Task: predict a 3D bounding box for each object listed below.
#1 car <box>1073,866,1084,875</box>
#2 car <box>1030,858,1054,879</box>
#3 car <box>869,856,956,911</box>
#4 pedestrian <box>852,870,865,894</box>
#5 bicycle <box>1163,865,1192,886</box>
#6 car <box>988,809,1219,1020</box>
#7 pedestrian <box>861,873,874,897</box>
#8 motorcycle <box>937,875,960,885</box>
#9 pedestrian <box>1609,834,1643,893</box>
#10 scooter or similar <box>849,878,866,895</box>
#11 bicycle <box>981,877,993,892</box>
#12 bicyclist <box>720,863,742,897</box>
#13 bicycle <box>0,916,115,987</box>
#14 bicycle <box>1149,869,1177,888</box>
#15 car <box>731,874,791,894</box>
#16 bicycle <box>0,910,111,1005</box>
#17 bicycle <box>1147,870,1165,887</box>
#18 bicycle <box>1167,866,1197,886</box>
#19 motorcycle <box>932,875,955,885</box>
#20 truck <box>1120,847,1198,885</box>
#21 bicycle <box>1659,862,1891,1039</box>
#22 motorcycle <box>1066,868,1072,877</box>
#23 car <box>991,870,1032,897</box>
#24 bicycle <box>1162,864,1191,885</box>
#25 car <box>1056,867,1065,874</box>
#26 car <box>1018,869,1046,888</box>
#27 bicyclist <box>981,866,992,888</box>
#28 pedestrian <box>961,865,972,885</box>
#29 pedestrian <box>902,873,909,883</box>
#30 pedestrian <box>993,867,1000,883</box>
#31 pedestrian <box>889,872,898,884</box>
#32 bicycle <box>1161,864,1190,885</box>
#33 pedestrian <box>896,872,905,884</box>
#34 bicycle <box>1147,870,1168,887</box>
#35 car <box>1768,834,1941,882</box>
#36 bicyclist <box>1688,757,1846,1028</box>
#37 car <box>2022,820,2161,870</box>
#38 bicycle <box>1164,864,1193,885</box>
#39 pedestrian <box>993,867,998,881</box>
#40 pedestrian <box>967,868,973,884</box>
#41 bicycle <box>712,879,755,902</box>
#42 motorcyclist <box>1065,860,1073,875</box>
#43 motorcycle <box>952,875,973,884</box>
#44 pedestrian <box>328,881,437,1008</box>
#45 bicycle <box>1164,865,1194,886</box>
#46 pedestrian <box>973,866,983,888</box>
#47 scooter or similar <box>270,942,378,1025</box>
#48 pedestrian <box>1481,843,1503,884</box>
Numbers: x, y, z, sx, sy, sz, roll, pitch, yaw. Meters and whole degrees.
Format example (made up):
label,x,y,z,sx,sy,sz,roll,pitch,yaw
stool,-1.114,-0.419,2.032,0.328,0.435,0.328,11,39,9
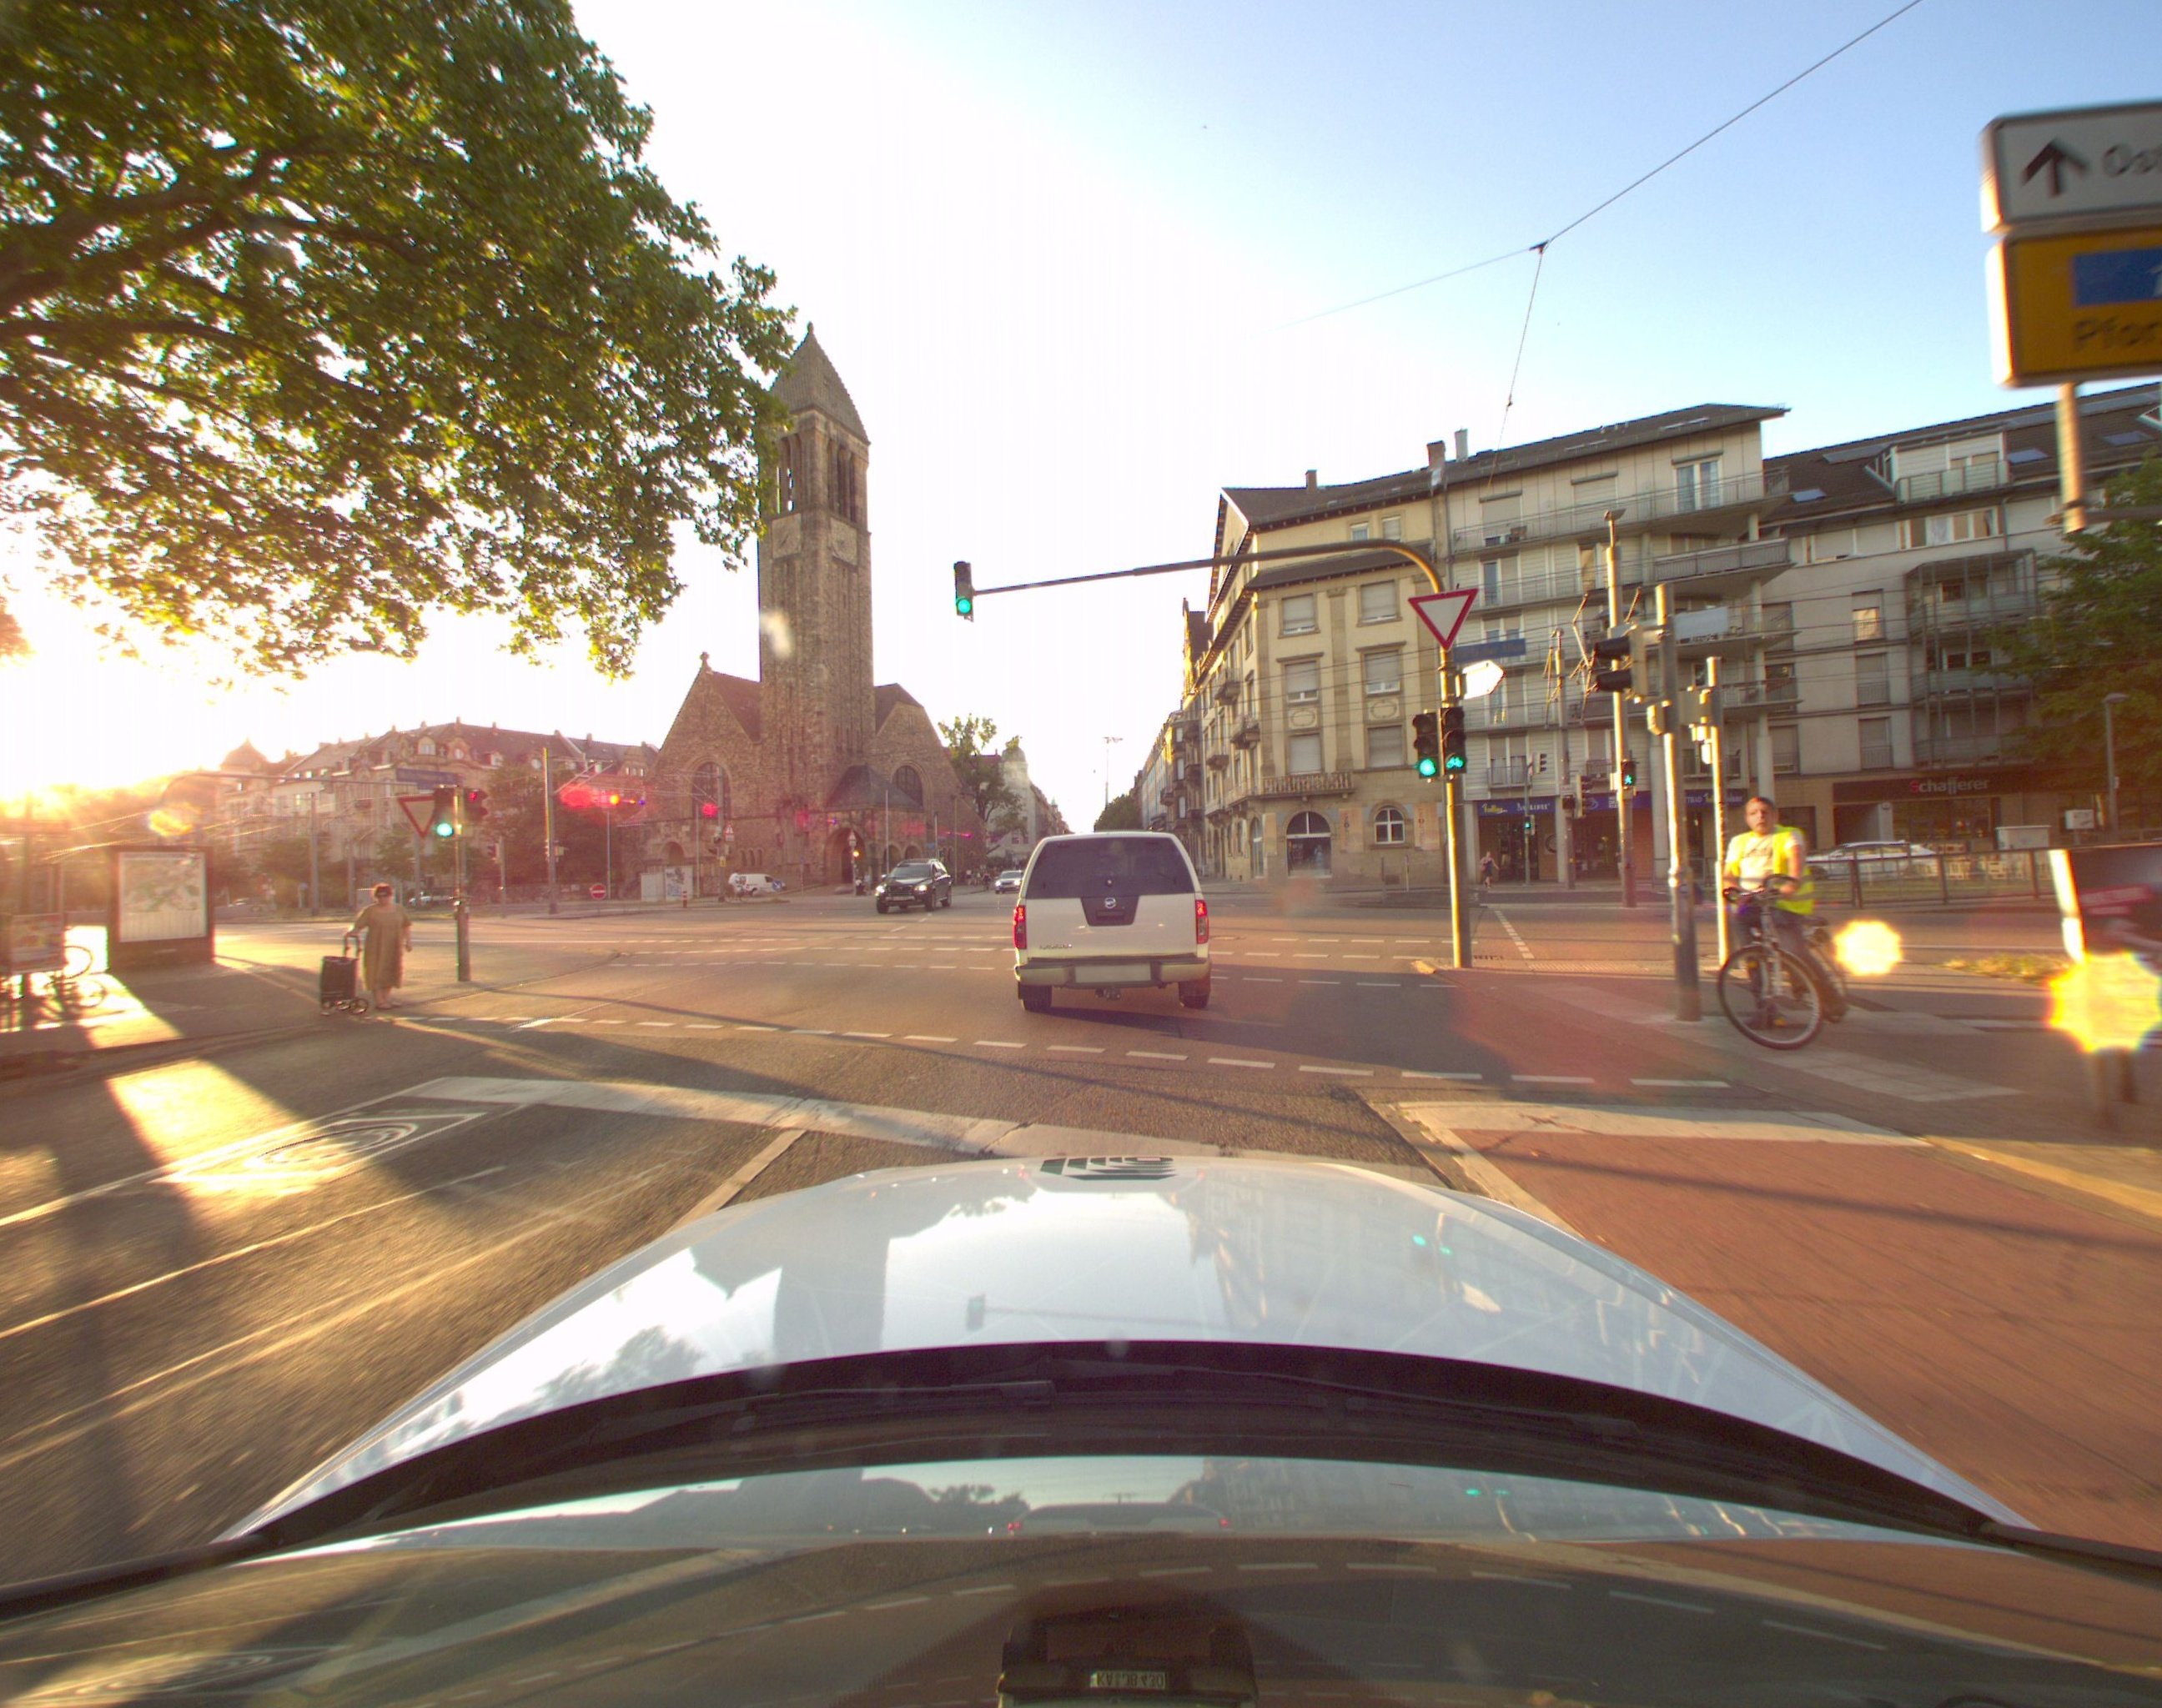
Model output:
label,x,y,z,sx,sy,sz,roll,pitch,yaw
car,-0.432,2.784,135.856,1.853,1.529,3.998,-1,-1,-1
car,-3.934,1.488,82.139,1.986,2.014,4.951,-2,-1,1
car,-5.826,0.966,28.845,1.986,1.784,4.798,0,0,1
pedestrian,-16.023,2.014,58.617,0.629,1.698,0.605,-1,-2,13
bicycle,6.433,1.415,54.251,1.812,1.238,0.477,-5,-2,-1
car,0.274,0.578,9.117,1.986,1.809,4.002,-1,-1,2
pedestrian,-15.298,2.185,58.409,0.629,1.698,0.605,-1,-2,13
motorcycle,-13.778,2.702,84.801,2.239,0.988,0.707,-1,-2,-4
pedestrian,20.897,0.380,31.265,0.860,2.209,0.825,-2,-2,22
scooter or similar,-15.762,2.280,57.365,0.629,1.103,1.082,-5,-2,13
bicycle,-6.913,2.220,59.798,0.597,1.043,1.946,-1,-1,1
bicyclist,-19.052,1.425,44.341,0.650,1.827,0.864,-2,0,26
bicycle,-18.125,1.669,14.177,0.456,1.093,1.799,-1,-1,0
bicycle,5.362,1.574,53.095,1.721,1.083,0.317,-5,-2,-1
car,-25.881,2.393,66.035,1.698,1.517,4.482,-2,-2,26
bicycle,-15.921,1.539,12.075,0.522,1.326,1.998,-1,-2,7
bicycle,4.978,1.648,53.991,1.073,1.024,0.317,-5,-2,-1
bicycle,6.526,1.412,52.594,1.812,1.150,0.636,-5,-2,-1
motorcycle,-13.959,2.656,82.778,2.239,0.988,0.707,-1,-2,-4
truck,5.702,0.852,59.204,5.703,2.565,2.260,0,-2,-41
bicycle,5.167,0.634,6.024,2.078,1.109,0.622,0,-2,-30
motorcycle,-1.456,2.197,95.901,0.597,1.043,1.946,-1,-1,1
car,-4.569,1.927,53.899,1.985,1.558,4.773,1,0,4
bicycle,6.517,1.412,55.581,1.812,1.238,0.410,-5,-2,-1
car,-4.420,3.613,175.339,1.852,1.529,4.001,-1,-1,2
car,-4.277,2.113,71.501,1.986,1.477,4.140,-3,-1,1
bicyclist,-6.930,1.684,59.726,0.597,1.645,0.963,-1,-2,1
pedestrian,-9.976,1.834,71.155,0.809,1.670,0.859,-1,-2,0
pedestrian,-16.550,2.256,76.869,0.550,0.960,0.709,-1,-2,-1
pedestrian,-10.038,2.456,96.801,0.643,1.855,0.559,-1,-2,-12
pedestrian,-15.203,1.969,66.090,0.517,0.960,0.482,-2,-2,21
bicycle,6.496,1.427,56.113,1.849,1.238,0.530,-5,-2,-1
pedestrian,-14.595,1.950,65.794,0.517,0.960,0.482,-2,-2,21
bicycle,5.174,1.661,55.244,1.329,1.024,0.317,-5,-2,-1
car,26.619,0.168,28.218,3.950,1.486,1.860,-2,-2,26
bicyclist,4.988,0.260,5.932,0.701,1.824,0.622,0,-2,-30
car,32.696,-0.271,25.398,3.952,1.486,1.859,-2,-2,22
bicycle,6.563,1.396,54.974,1.812,1.238,0.412,-5,-2,-1
pedestrian,-10.255,2.397,97.650,0.559,1.695,0.643,-1,-2,-6
pedestrian,-12.050,2.415,88.554,0.642,1.695,0.560,-1,-2,-6
bicycle,-18.953,1.976,44.482,0.650,1.078,2.258,-1,1,26
motorcyclist,-1.442,1.583,95.939,0.871,1.645,0.963,-1,-1,1
motorcycle,-12.661,2.735,87.053,2.146,0.988,0.597,-2,-2,22
pedestrian,-9.424,1.195,11.024,0.800,1.628,0.773,-1,-2,-3
bicycle,6.441,1.392,53.539,1.812,1.238,0.488,-5,-2,-1
pedestrian,-9.028,2.001,71.437,0.809,1.901,0.666,-1,-2,0
scooter or similar,-9.422,1.594,10.171,0.591,0.898,0.849,-1,-2,-8
pedestrian,17.797,0.413,35.238,0.779,1.779,0.546,-2,-2,27
